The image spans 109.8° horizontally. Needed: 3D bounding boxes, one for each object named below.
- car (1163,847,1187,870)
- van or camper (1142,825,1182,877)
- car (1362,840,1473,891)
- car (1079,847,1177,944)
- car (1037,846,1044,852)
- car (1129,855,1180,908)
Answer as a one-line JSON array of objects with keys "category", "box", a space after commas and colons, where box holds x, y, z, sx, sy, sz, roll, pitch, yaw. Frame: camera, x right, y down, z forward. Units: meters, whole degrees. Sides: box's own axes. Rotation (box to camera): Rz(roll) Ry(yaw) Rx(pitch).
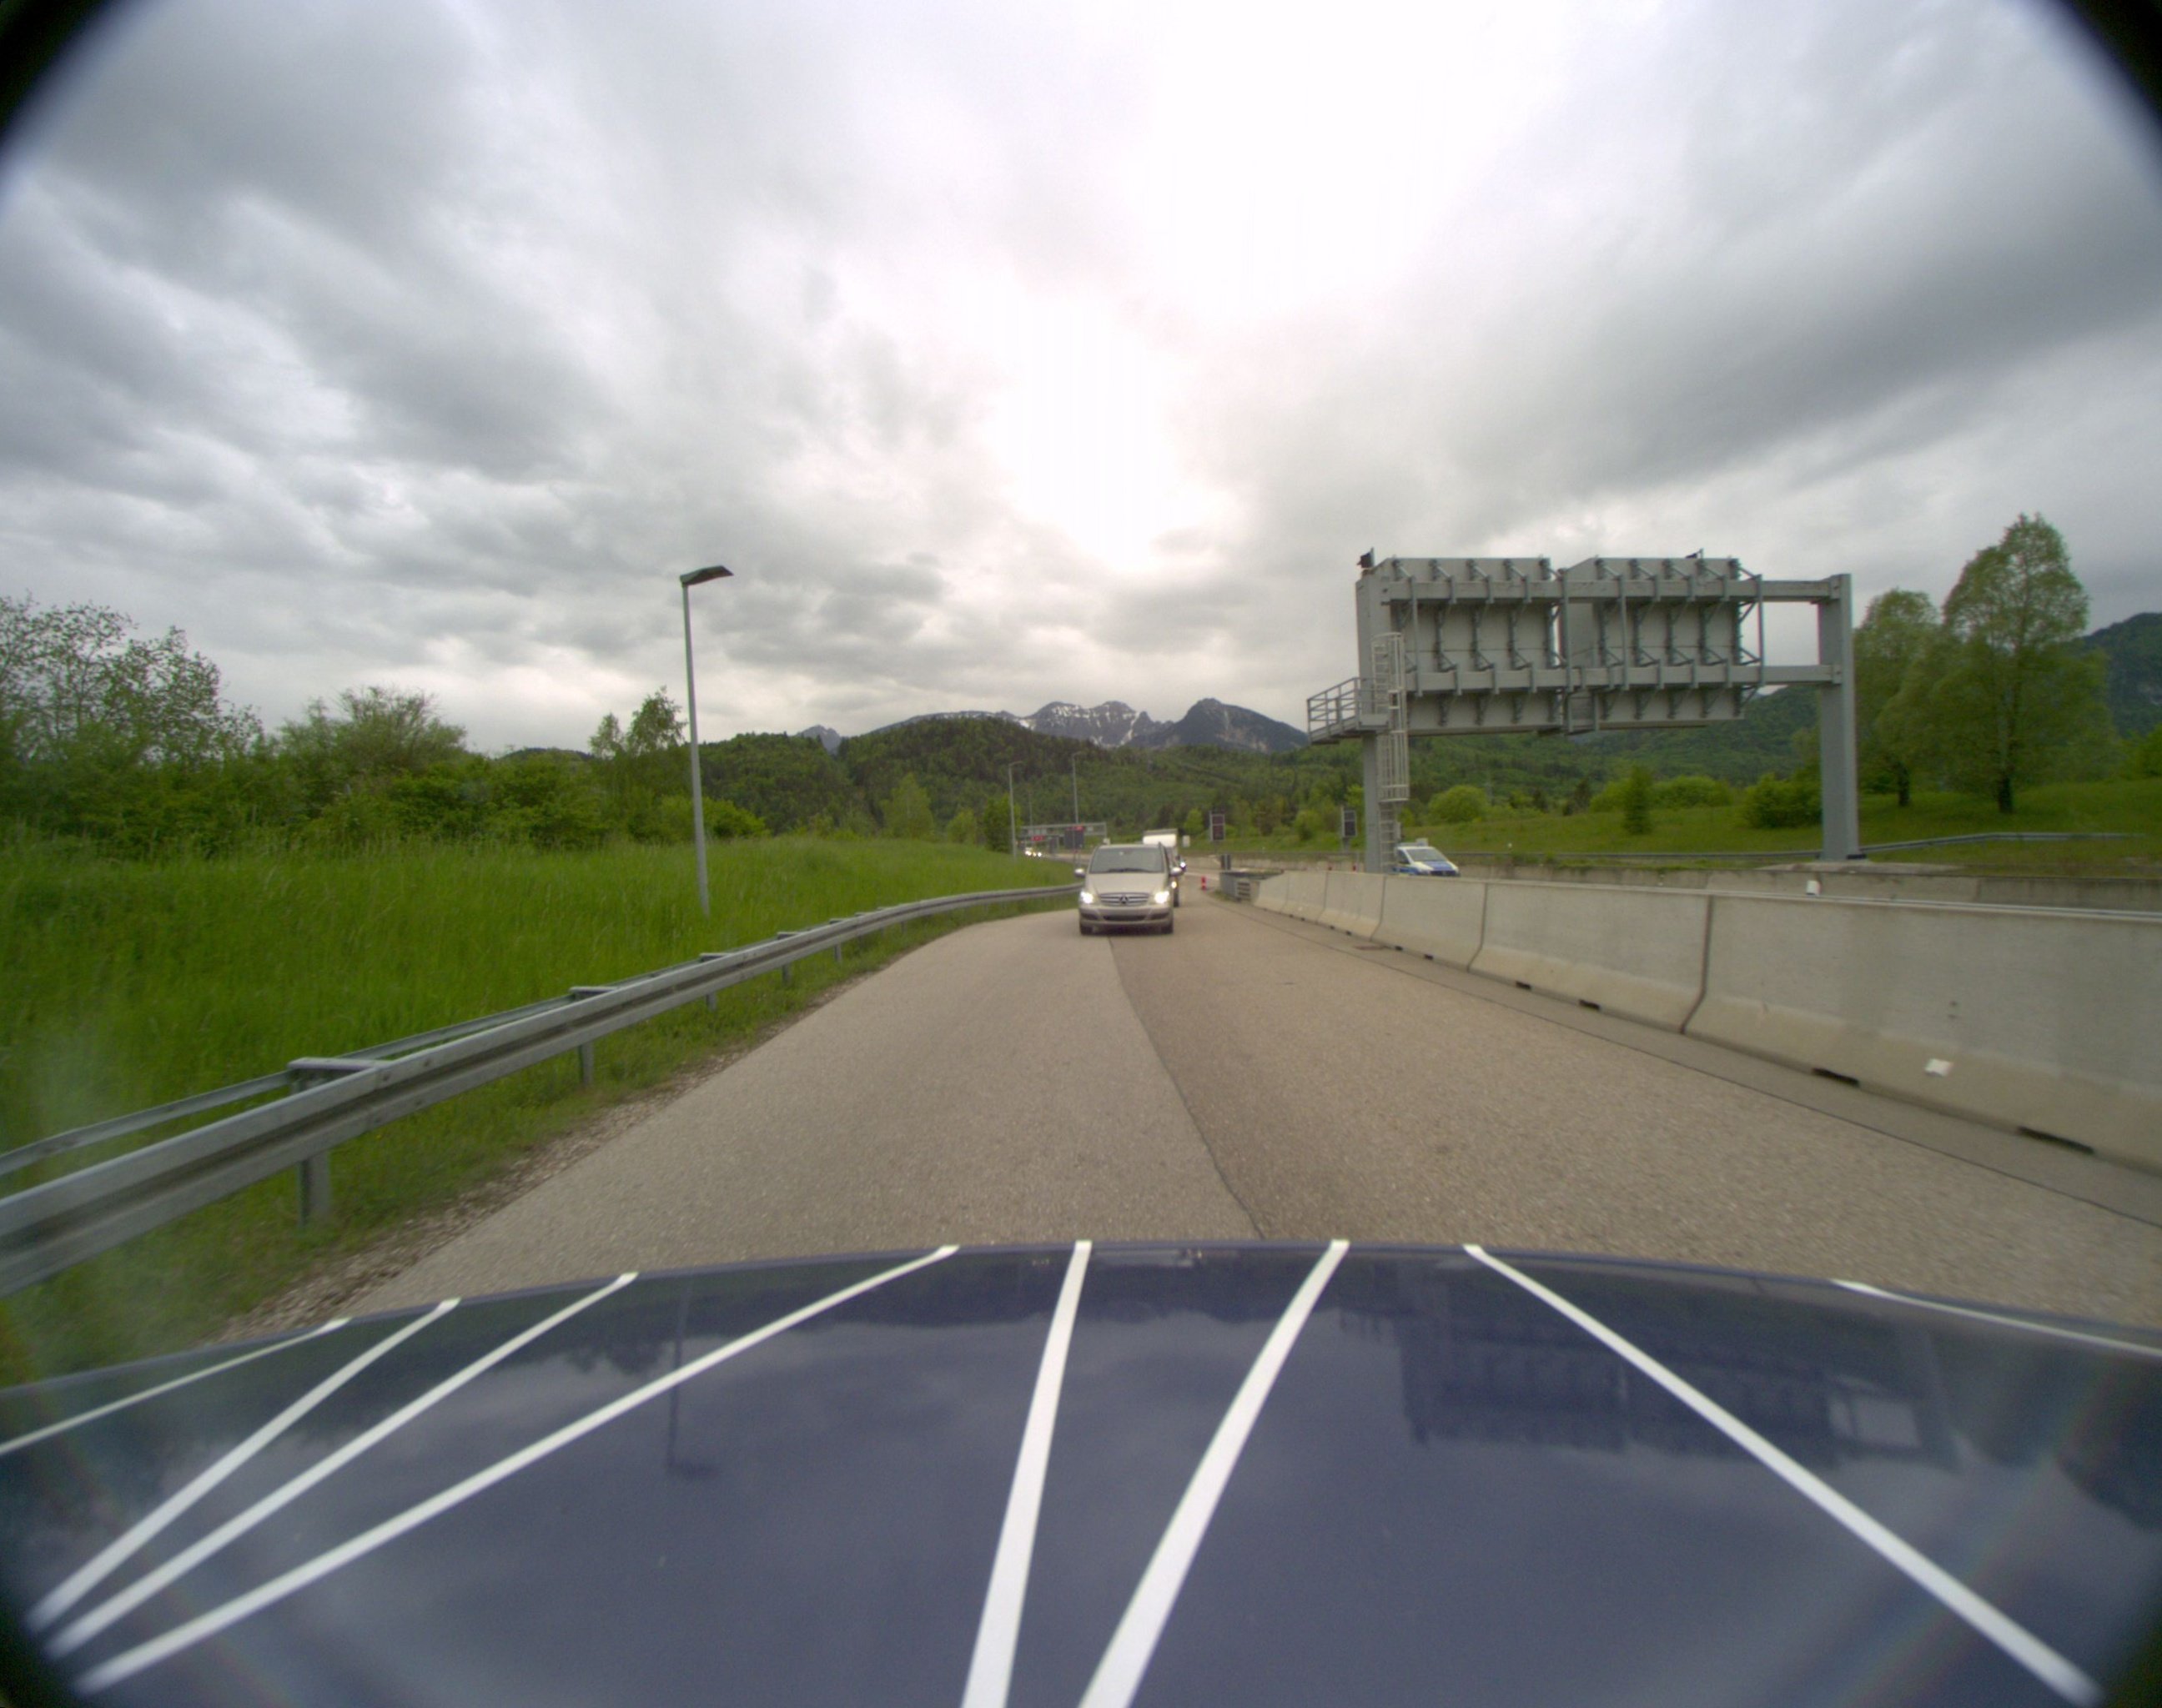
[{"category": "car", "box": [7.908, 0.353, 63.997, 1.741, 1.755, 4.001, -4, 0, 5]}, {"category": "van or camper", "box": [5.695, -0.209, 53.169, 2.581, 3.372, 7.359, -1, 1, 7]}, {"category": "car", "box": [14.390, 0.434, 32.897, 2.105, 2.002, 5.048, -1, 1, -7]}, {"category": "car", "box": [1.211, 0.767, 17.265, 1.861, 1.833, 5.619, 0, 1, 7]}, {"category": "car", "box": [-11.506, -1.518, 213.687, 1.738, 1.646, 3.997, -1, 0, -7]}, {"category": "car", "box": [2.565, 0.874, 25.993, 1.590, 1.662, 4.002, -1, 0, 7]}]
